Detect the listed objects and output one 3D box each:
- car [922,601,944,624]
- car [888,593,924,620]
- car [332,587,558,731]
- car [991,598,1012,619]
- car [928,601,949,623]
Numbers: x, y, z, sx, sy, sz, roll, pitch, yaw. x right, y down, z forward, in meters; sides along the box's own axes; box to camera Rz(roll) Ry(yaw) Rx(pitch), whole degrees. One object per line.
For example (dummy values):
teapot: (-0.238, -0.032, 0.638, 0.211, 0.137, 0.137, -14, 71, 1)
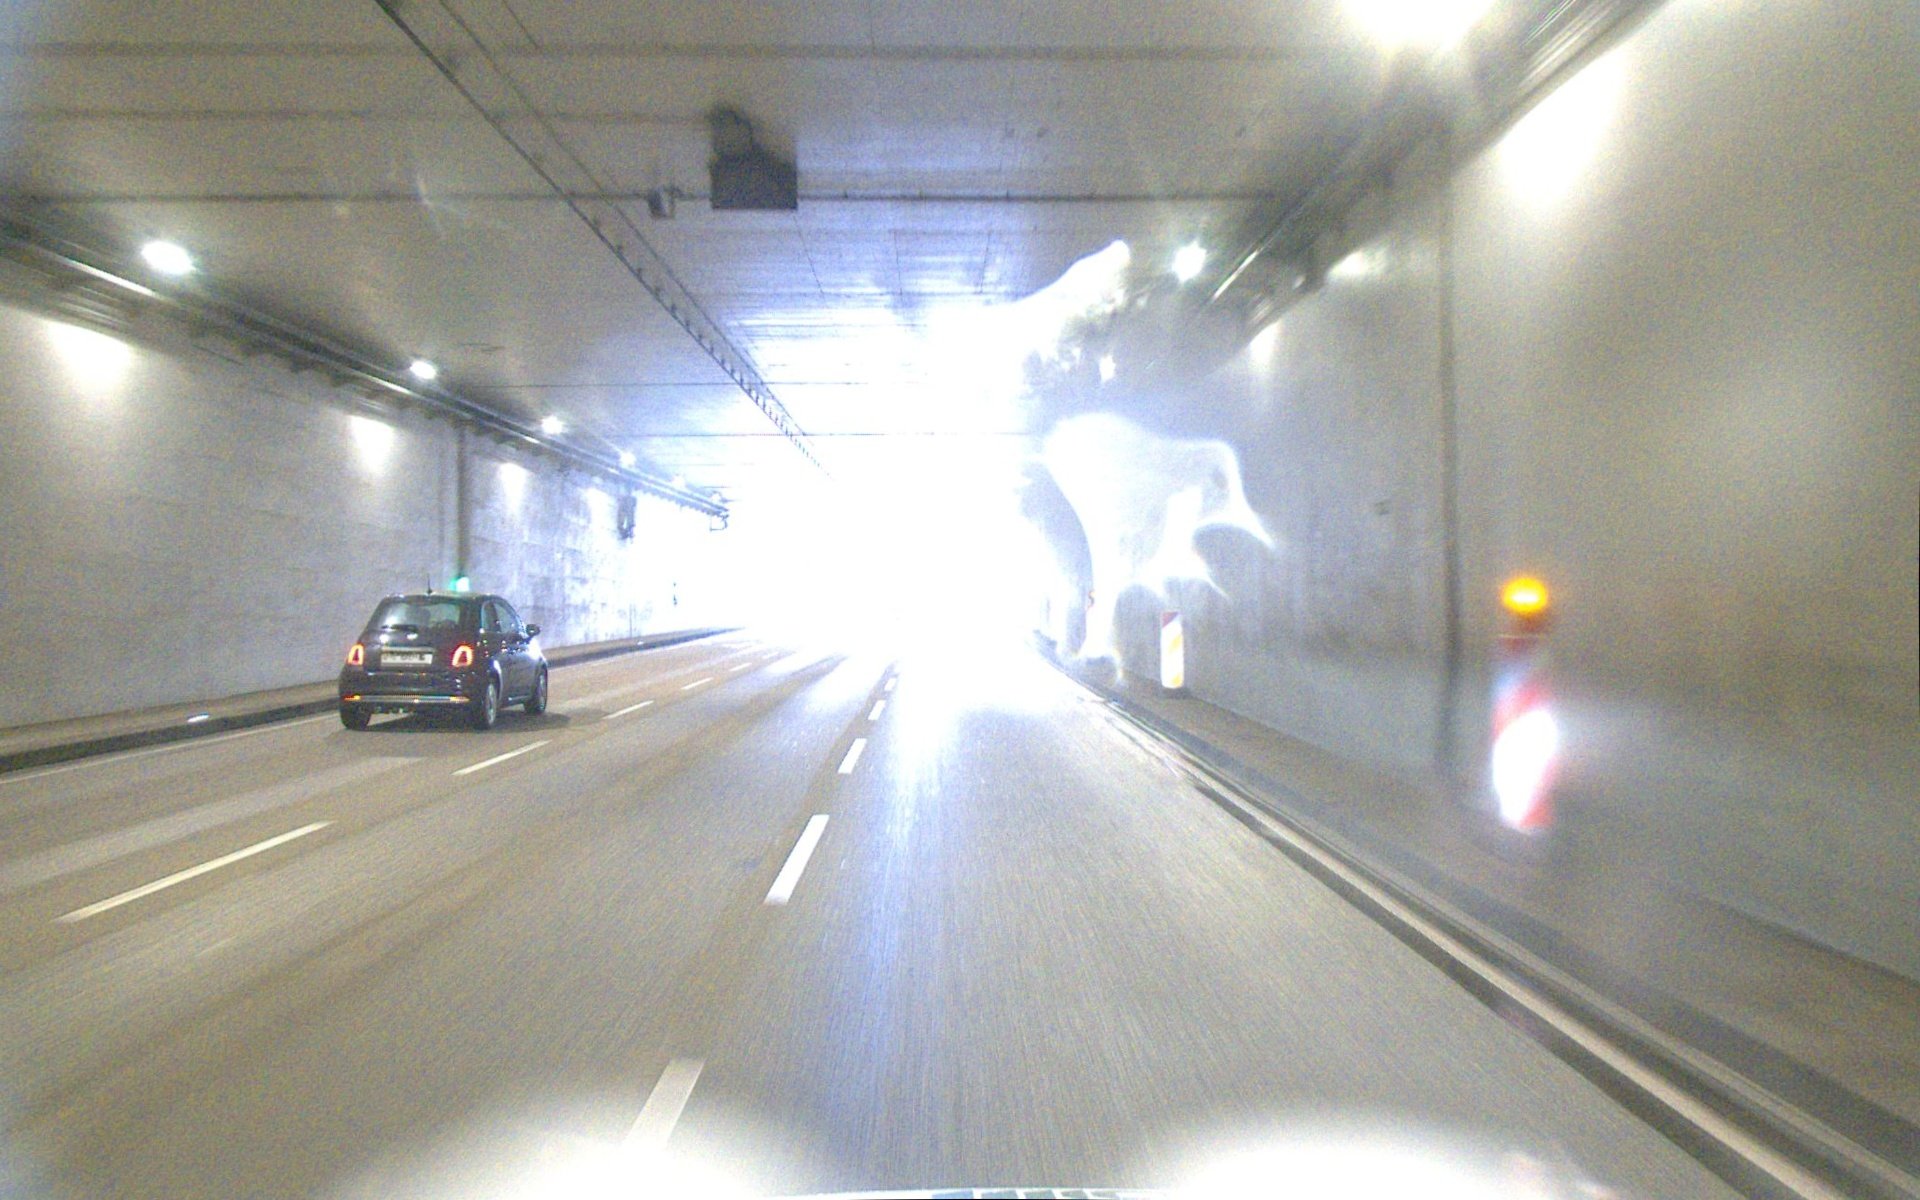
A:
car: (-2.448, 1.172, 151.217, 1.953, 2.049, 3.998, 0, -1, -1)
car: (-3.102, 0.394, 94.618, 1.954, 1.473, 4.311, -1, 0, -3)
car: (-5.780, 0.612, 18.958, 1.580, 1.480, 3.571, 1, 0, -2)
car: (4.112, 0.900, 165.314, 1.953, 2.049, 3.999, 0, -1, -1)
car: (-2.119, 1.160, 159.954, 1.953, 2.049, 3.998, 0, -1, -1)
